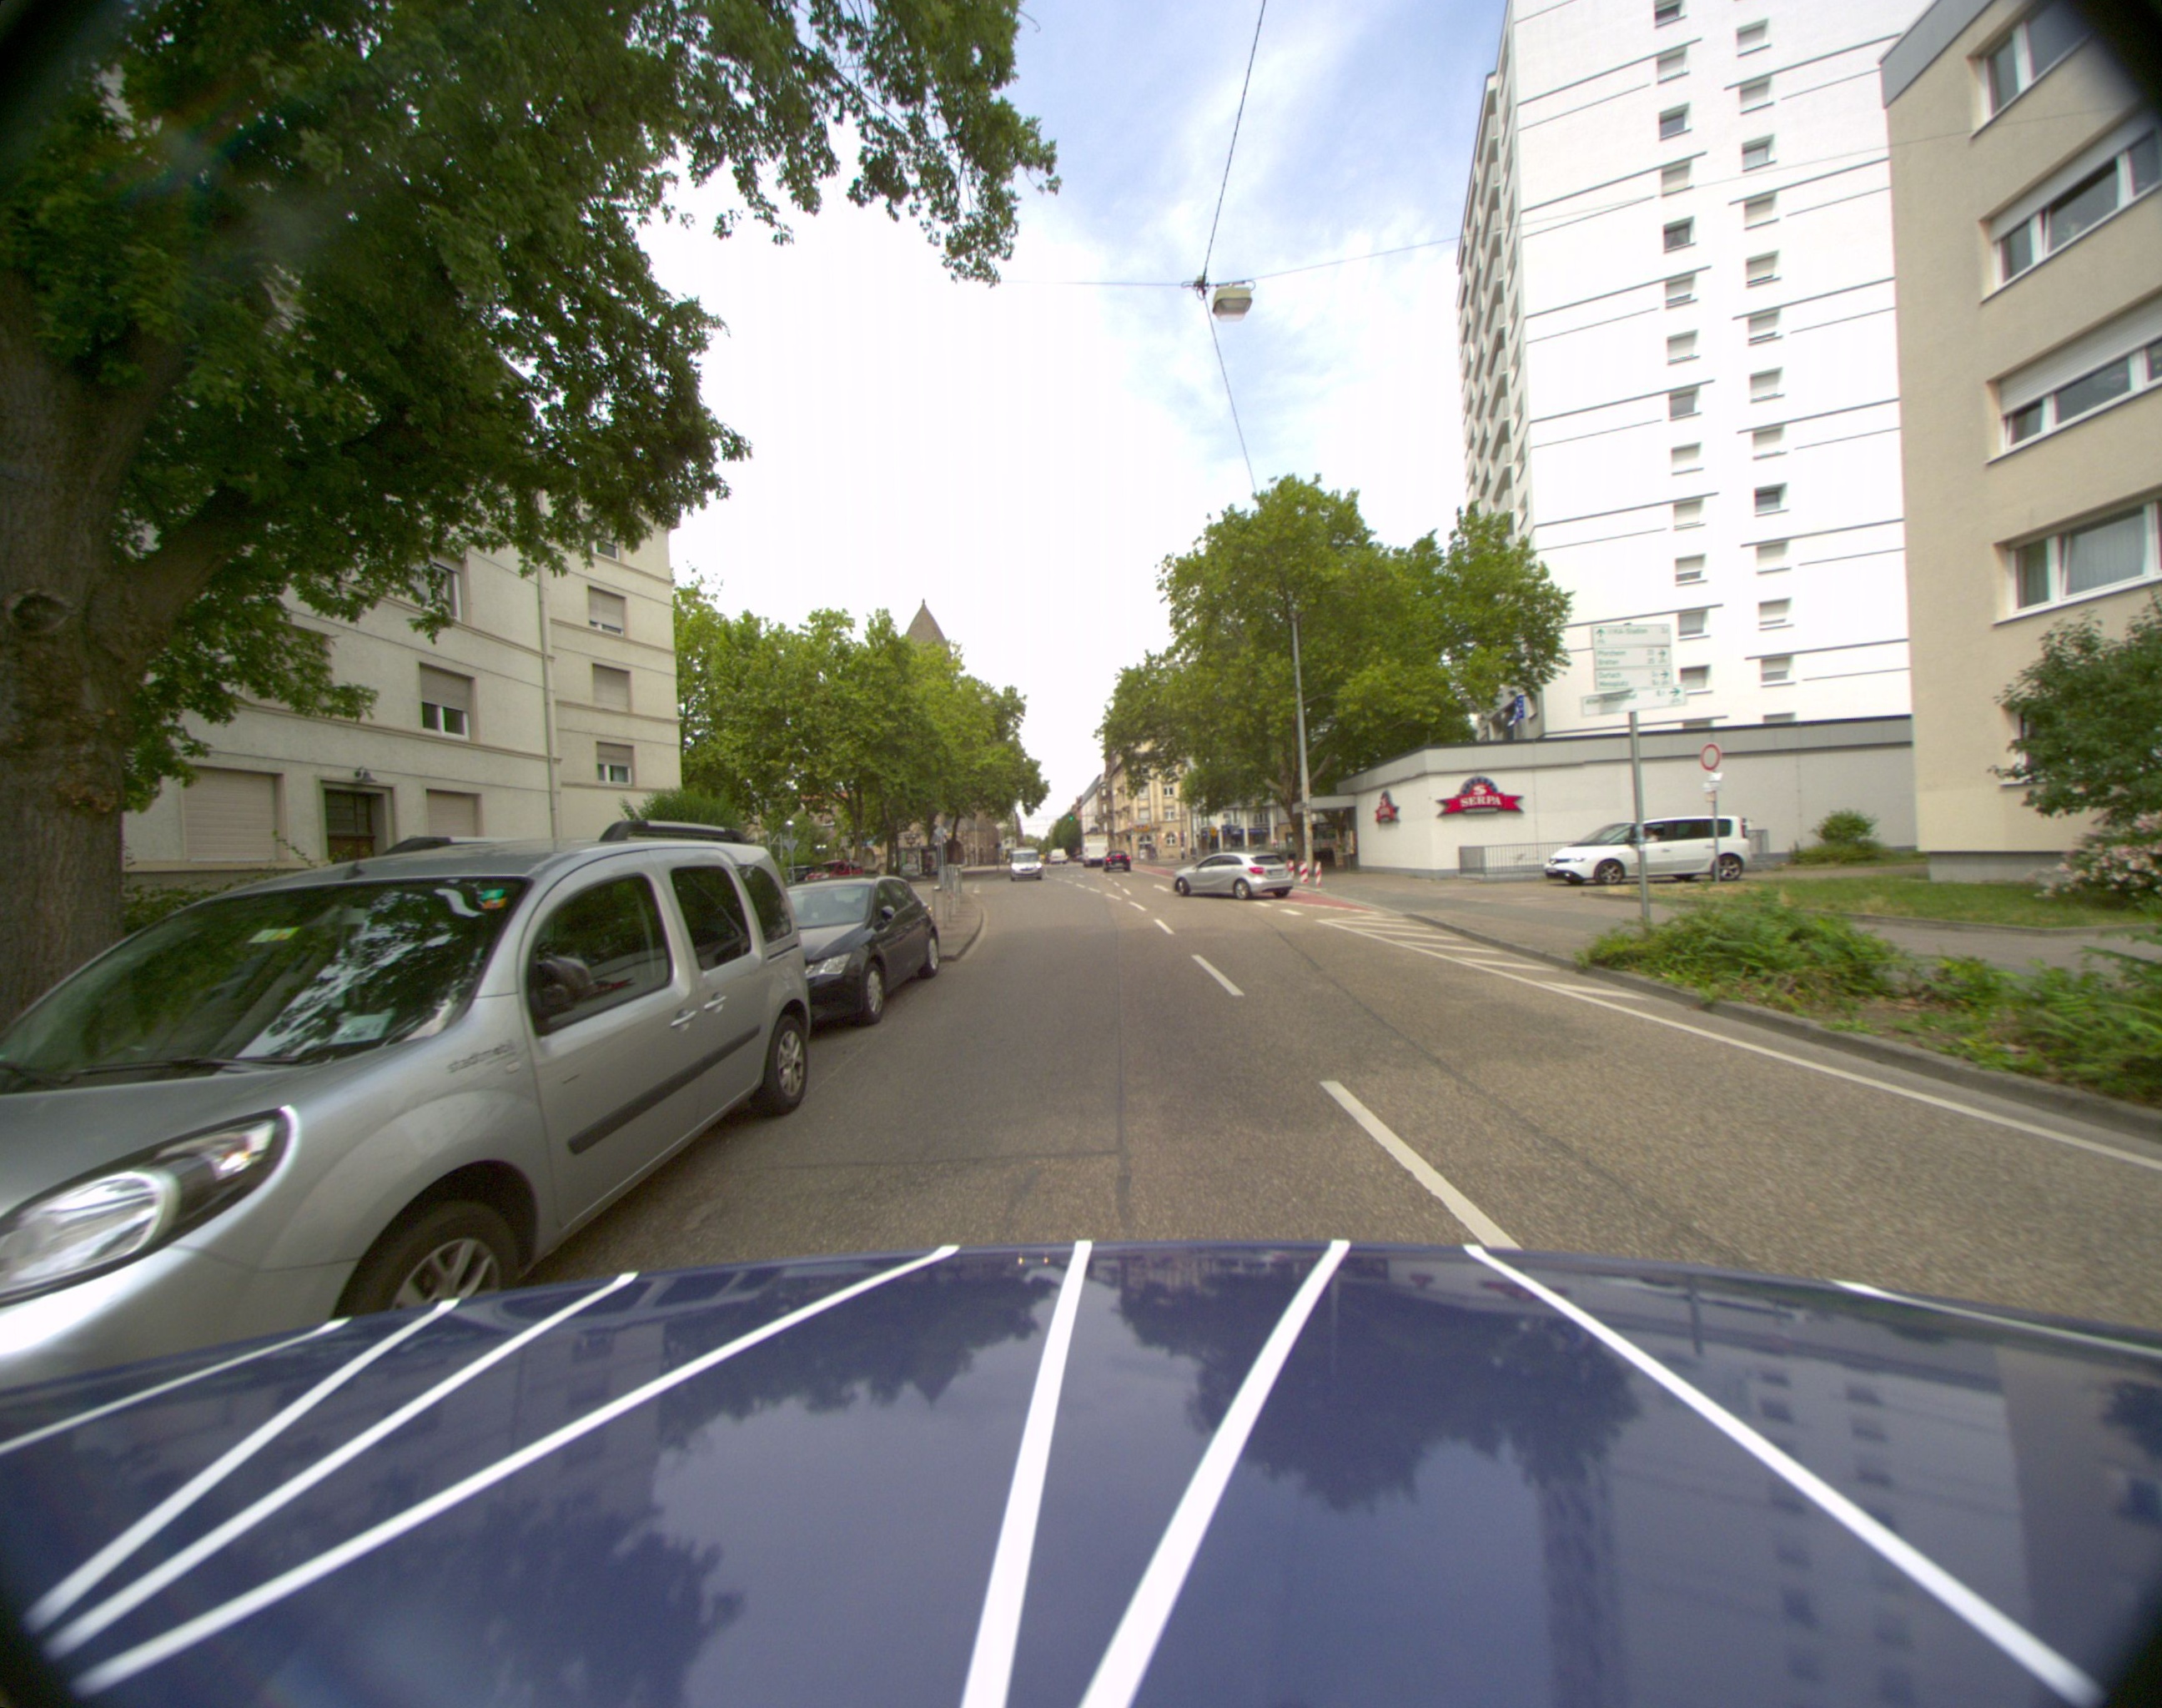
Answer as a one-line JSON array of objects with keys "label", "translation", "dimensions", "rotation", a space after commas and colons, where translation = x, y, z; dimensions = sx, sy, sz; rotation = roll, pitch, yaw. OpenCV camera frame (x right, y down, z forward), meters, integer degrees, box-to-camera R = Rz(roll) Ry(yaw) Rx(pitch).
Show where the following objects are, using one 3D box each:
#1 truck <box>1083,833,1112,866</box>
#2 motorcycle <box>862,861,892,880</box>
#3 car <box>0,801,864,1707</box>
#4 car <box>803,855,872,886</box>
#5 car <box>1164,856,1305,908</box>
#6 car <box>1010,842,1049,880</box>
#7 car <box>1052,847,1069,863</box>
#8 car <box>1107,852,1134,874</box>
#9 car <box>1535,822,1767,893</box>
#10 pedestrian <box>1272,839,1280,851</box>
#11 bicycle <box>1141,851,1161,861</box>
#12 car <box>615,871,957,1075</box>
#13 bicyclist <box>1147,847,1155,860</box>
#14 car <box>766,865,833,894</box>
[{"label": "truck", "translation": [1.615, -0.462, 76.422], "dimensions": [2.548, 3.089, 7.018], "rotation": [-1, 1, -2]}, {"label": "motorcycle", "translation": [-14.210, 1.170, 52.907], "dimensions": [1.859, 1.215, 0.530], "rotation": [-3, 0, -6]}, {"label": "car", "translation": [-2.763, 0.878, 3.351], "dimensions": [1.922, 1.854, 4.846], "rotation": [-4, 1, 2]}, {"label": "car", "translation": [-15.196, 0.990, 47.748], "dimensions": [1.935, 1.696, 4.335], "rotation": [-3, 1, 16]}, {"label": "car", "translation": [4.735, 0.828, 23.902], "dimensions": [1.852, 1.442, 4.174], "rotation": [-2, 0, -35]}, {"label": "car", "translation": [-2.966, 0.386, 44.664], "dimensions": [2.082, 2.039, 4.679], "rotation": [-3, 0, -2]}, {"label": "car", "translation": [-2.763, 0.125, 100.577], "dimensions": [1.929, 1.925, 4.945], "rotation": [-4, 0, -4]}, {"label": "car", "translation": [2.865, 0.614, 55.165], "dimensions": [1.701, 1.509, 3.999], "rotation": [-2, 0, 0]}, {"label": "car", "translation": [15.065, 0.097, 20.314], "dimensions": [4.640, 1.676, 1.850], "rotation": [-2, 1, 7]}, {"label": "pedestrian", "translation": [25.117, -1.191, 97.891], "dimensions": [0.837, 1.543, 0.869], "rotation": [-2, 1, 20]}, {"label": "bicycle", "translation": [7.408, 0.213, 80.521], "dimensions": [1.967, 1.088, 0.627], "rotation": [-1, 1, 18]}, {"label": "car", "translation": [-2.827, 1.053, 8.491], "dimensions": [1.922, 1.436, 4.239], "rotation": [-4, 1, 2]}, {"label": "bicyclist", "translation": [7.424, -0.090, 80.577], "dimensions": [0.751, 1.334, 0.492], "rotation": [-3, 0, 18]}, {"label": "car", "translation": [-17.730, 1.594, 48.069], "dimensions": [1.829, 1.543, 4.004], "rotation": [-2, 1, 17]}]
